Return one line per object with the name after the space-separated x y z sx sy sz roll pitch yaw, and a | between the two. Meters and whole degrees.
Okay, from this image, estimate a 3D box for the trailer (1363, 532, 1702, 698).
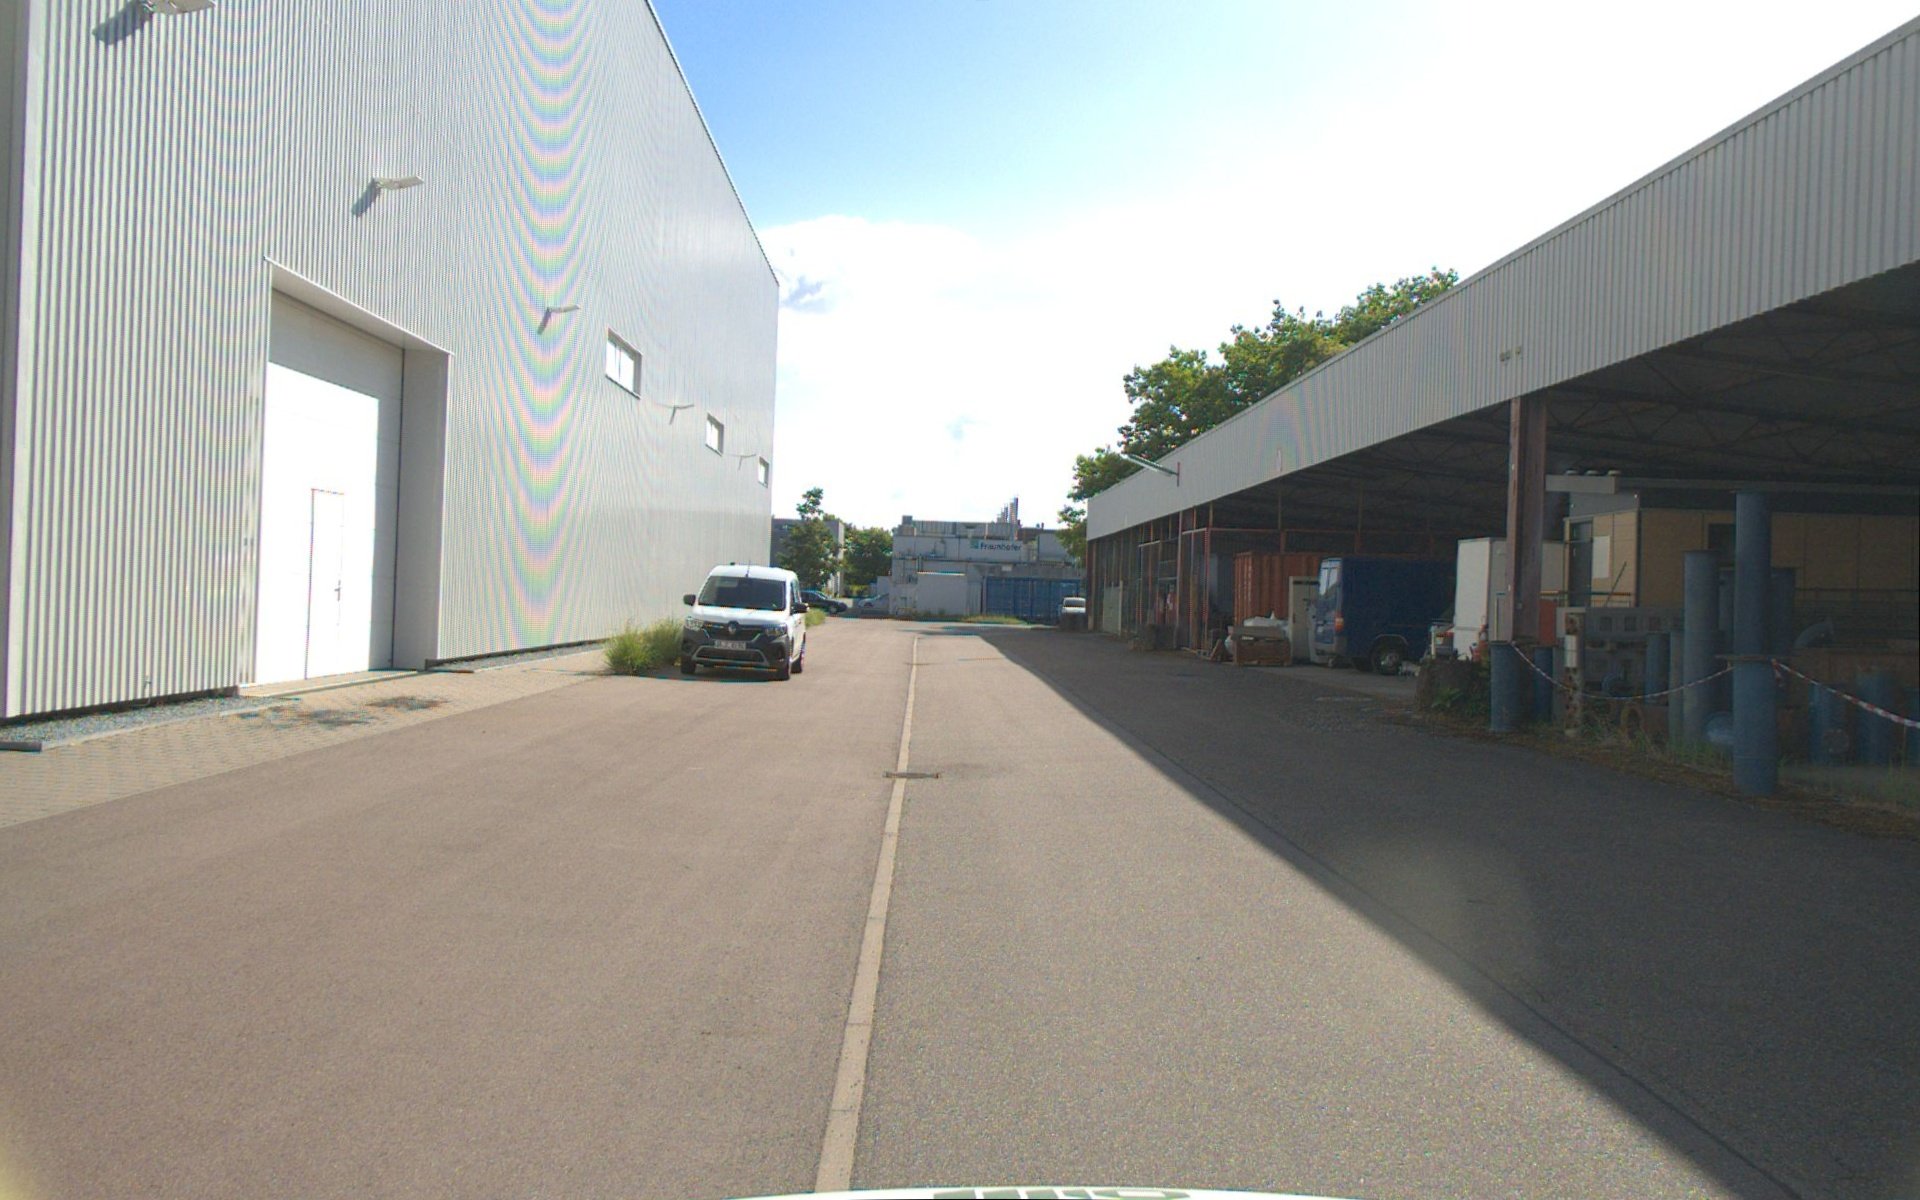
8.541 0.226 24.977 4.424 2.383 2.047 0 0 -1 | trailer

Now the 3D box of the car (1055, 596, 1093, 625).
6.724 0.602 98.022 1.939 1.630 4.377 0 1 0 | car

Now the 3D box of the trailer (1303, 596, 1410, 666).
8.694 0.661 36.391 1.996 1.492 1.739 0 0 3 | trailer

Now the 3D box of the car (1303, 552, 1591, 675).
9.864 0.284 33.812 5.225 2.321 2.152 1 -1 -2 | car

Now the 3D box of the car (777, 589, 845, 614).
-9.906 0.096 110.004 4.358 1.558 1.823 1 0 -2 | car

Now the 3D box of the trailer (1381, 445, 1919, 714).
11.126 -0.255 22.555 10.059 3.401 2.800 0 0 -1 | trailer

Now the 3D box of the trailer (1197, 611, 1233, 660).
6.080 0.844 39.425 0.541 1.138 1.546 0 0 -3 | trailer

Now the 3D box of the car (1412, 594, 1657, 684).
10.600 0.706 30.677 3.886 1.540 1.838 1 -1 -5 | car

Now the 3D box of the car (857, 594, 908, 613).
-6.449 0.280 138.001 4.216 1.483 1.823 1 0 -2 | car

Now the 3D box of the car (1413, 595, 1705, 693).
9.920 0.710 27.572 4.165 1.497 1.868 1 0 -5 | car

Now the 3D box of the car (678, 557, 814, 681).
-3.555 0.318 28.222 1.747 1.847 4.600 3 0 -2 | car
